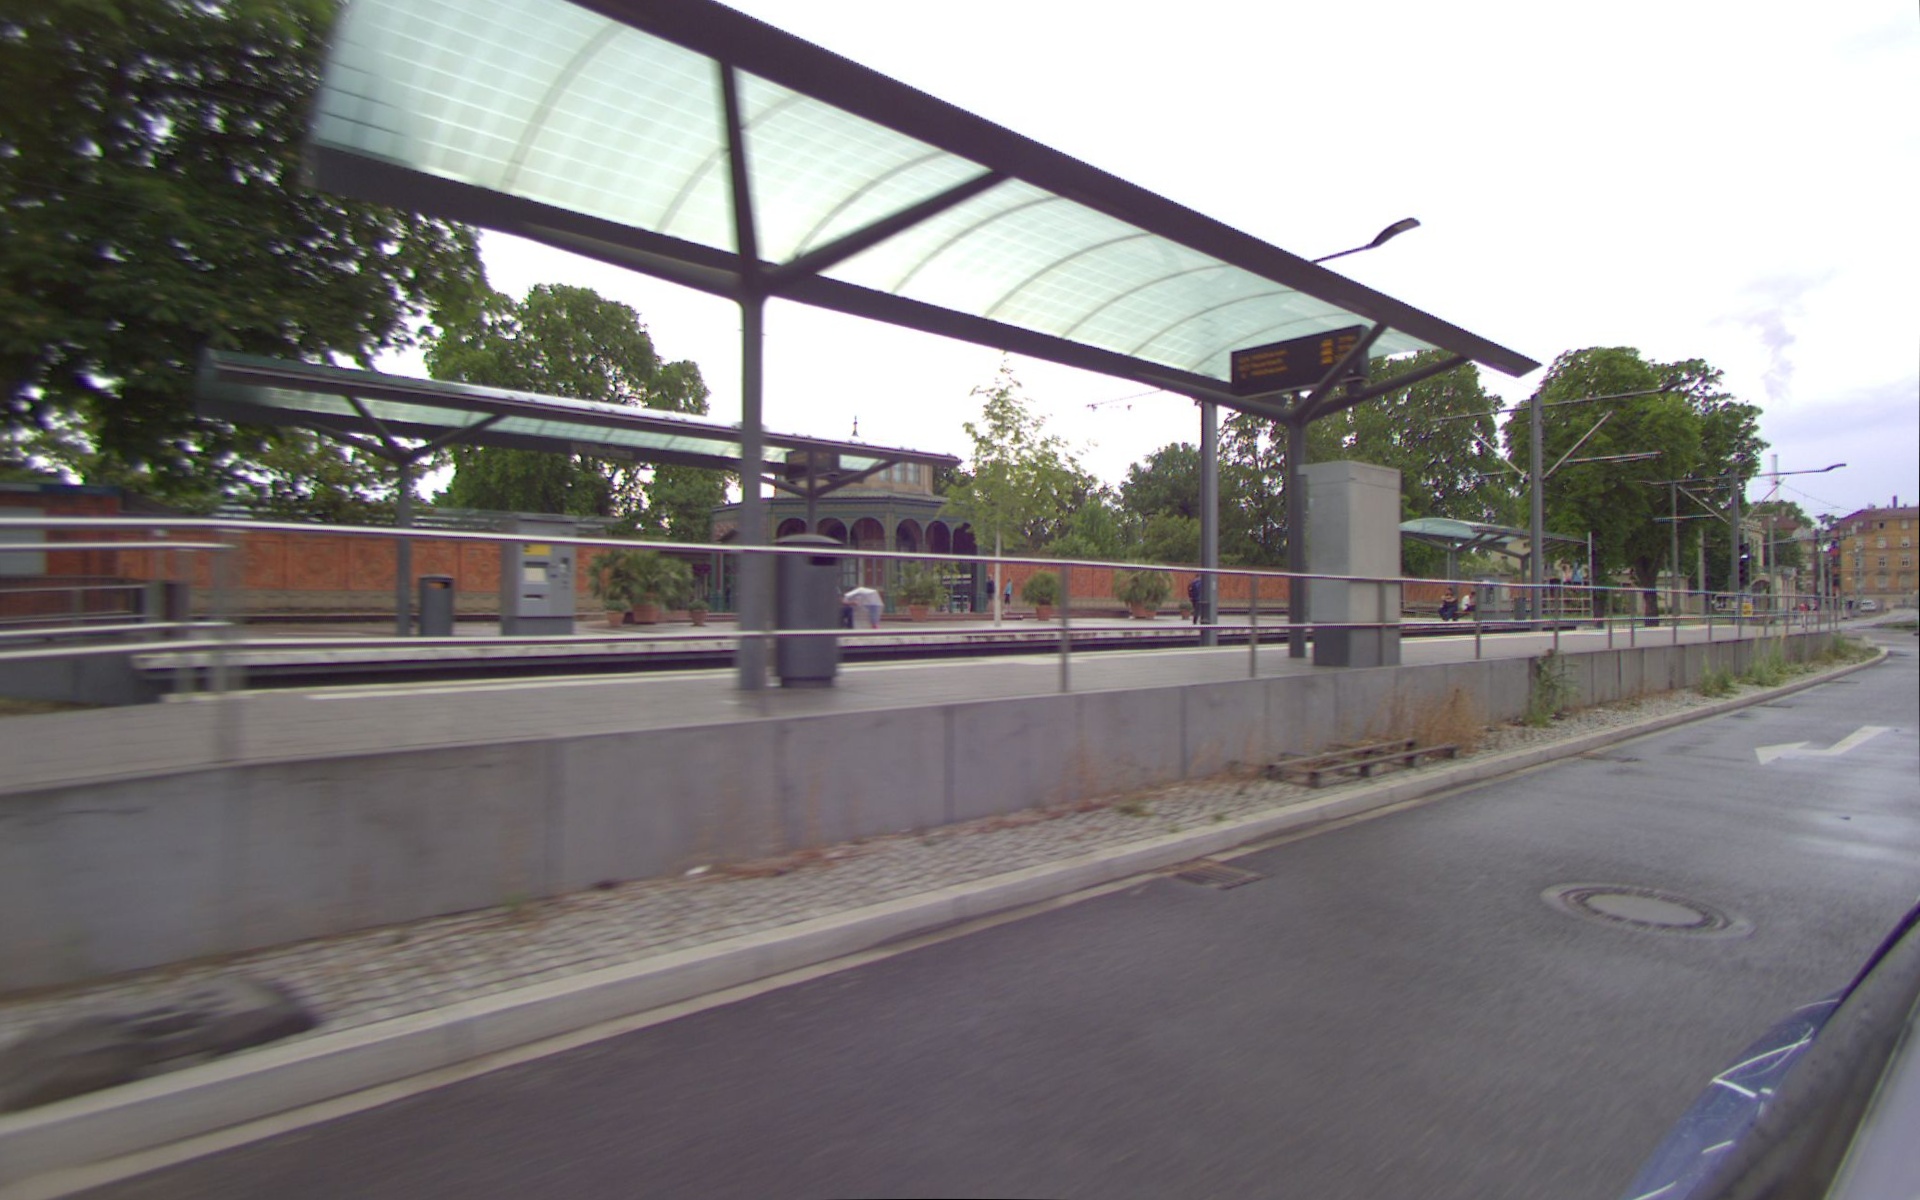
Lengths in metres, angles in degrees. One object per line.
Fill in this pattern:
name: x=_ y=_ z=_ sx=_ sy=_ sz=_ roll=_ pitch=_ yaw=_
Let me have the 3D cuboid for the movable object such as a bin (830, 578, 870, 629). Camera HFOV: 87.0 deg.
movable object such as a bin: x=-2.236 y=0.061 z=20.617 sx=0.670 sy=1.021 sz=0.438 roll=1 pitch=0 yaw=-40

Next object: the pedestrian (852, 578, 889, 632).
pedestrian: x=-1.734 y=0.092 z=19.638 sx=0.541 sy=1.021 sz=0.438 roll=1 pitch=0 yaw=-40

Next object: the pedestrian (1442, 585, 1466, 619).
pedestrian: x=18.767 y=0.080 z=38.462 sx=0.770 sy=1.228 sz=0.518 roll=-1 pitch=-4 yaw=-45

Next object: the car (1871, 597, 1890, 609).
car: x=135.463 y=0.458 z=148.885 sx=1.838 sy=1.661 sz=4.077 roll=-5 pitch=-3 yaw=44

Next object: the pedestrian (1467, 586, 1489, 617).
pedestrian: x=19.704 y=0.074 z=38.483 sx=0.597 sy=1.133 sz=0.514 roll=-5 pitch=-4 yaw=33

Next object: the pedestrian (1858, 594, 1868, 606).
pedestrian: x=138.982 y=-0.012 z=155.760 sx=0.768 sy=1.830 sz=0.696 roll=-2 pitch=-1 yaw=8

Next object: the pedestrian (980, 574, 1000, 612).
pedestrian: x=1.399 y=-0.338 z=46.928 sx=0.681 sy=1.732 sz=0.533 roll=-2 pitch=-2 yaw=-30

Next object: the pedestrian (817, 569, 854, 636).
pedestrian: x=-2.351 y=0.045 z=19.097 sx=0.541 sy=1.241 sz=0.438 roll=1 pitch=0 yaw=-40

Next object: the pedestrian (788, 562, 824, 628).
pedestrian: x=-2.962 y=-0.093 z=19.468 sx=0.541 sy=1.241 sz=0.438 roll=1 pitch=0 yaw=-40

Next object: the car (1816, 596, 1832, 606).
car: x=143.175 y=0.185 z=167.725 sx=1.825 sy=1.602 sz=3.939 roll=0 pitch=0 yaw=42

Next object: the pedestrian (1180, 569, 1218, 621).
pedestrian: x=8.523 y=-0.179 z=36.065 sx=1.161 sy=1.813 sz=0.722 roll=1 pitch=0 yaw=-41

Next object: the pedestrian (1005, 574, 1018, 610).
pedestrian: x=2.405 y=-0.371 z=47.208 sx=0.460 sy=1.678 sz=0.552 roll=-1 pitch=-1 yaw=-7
